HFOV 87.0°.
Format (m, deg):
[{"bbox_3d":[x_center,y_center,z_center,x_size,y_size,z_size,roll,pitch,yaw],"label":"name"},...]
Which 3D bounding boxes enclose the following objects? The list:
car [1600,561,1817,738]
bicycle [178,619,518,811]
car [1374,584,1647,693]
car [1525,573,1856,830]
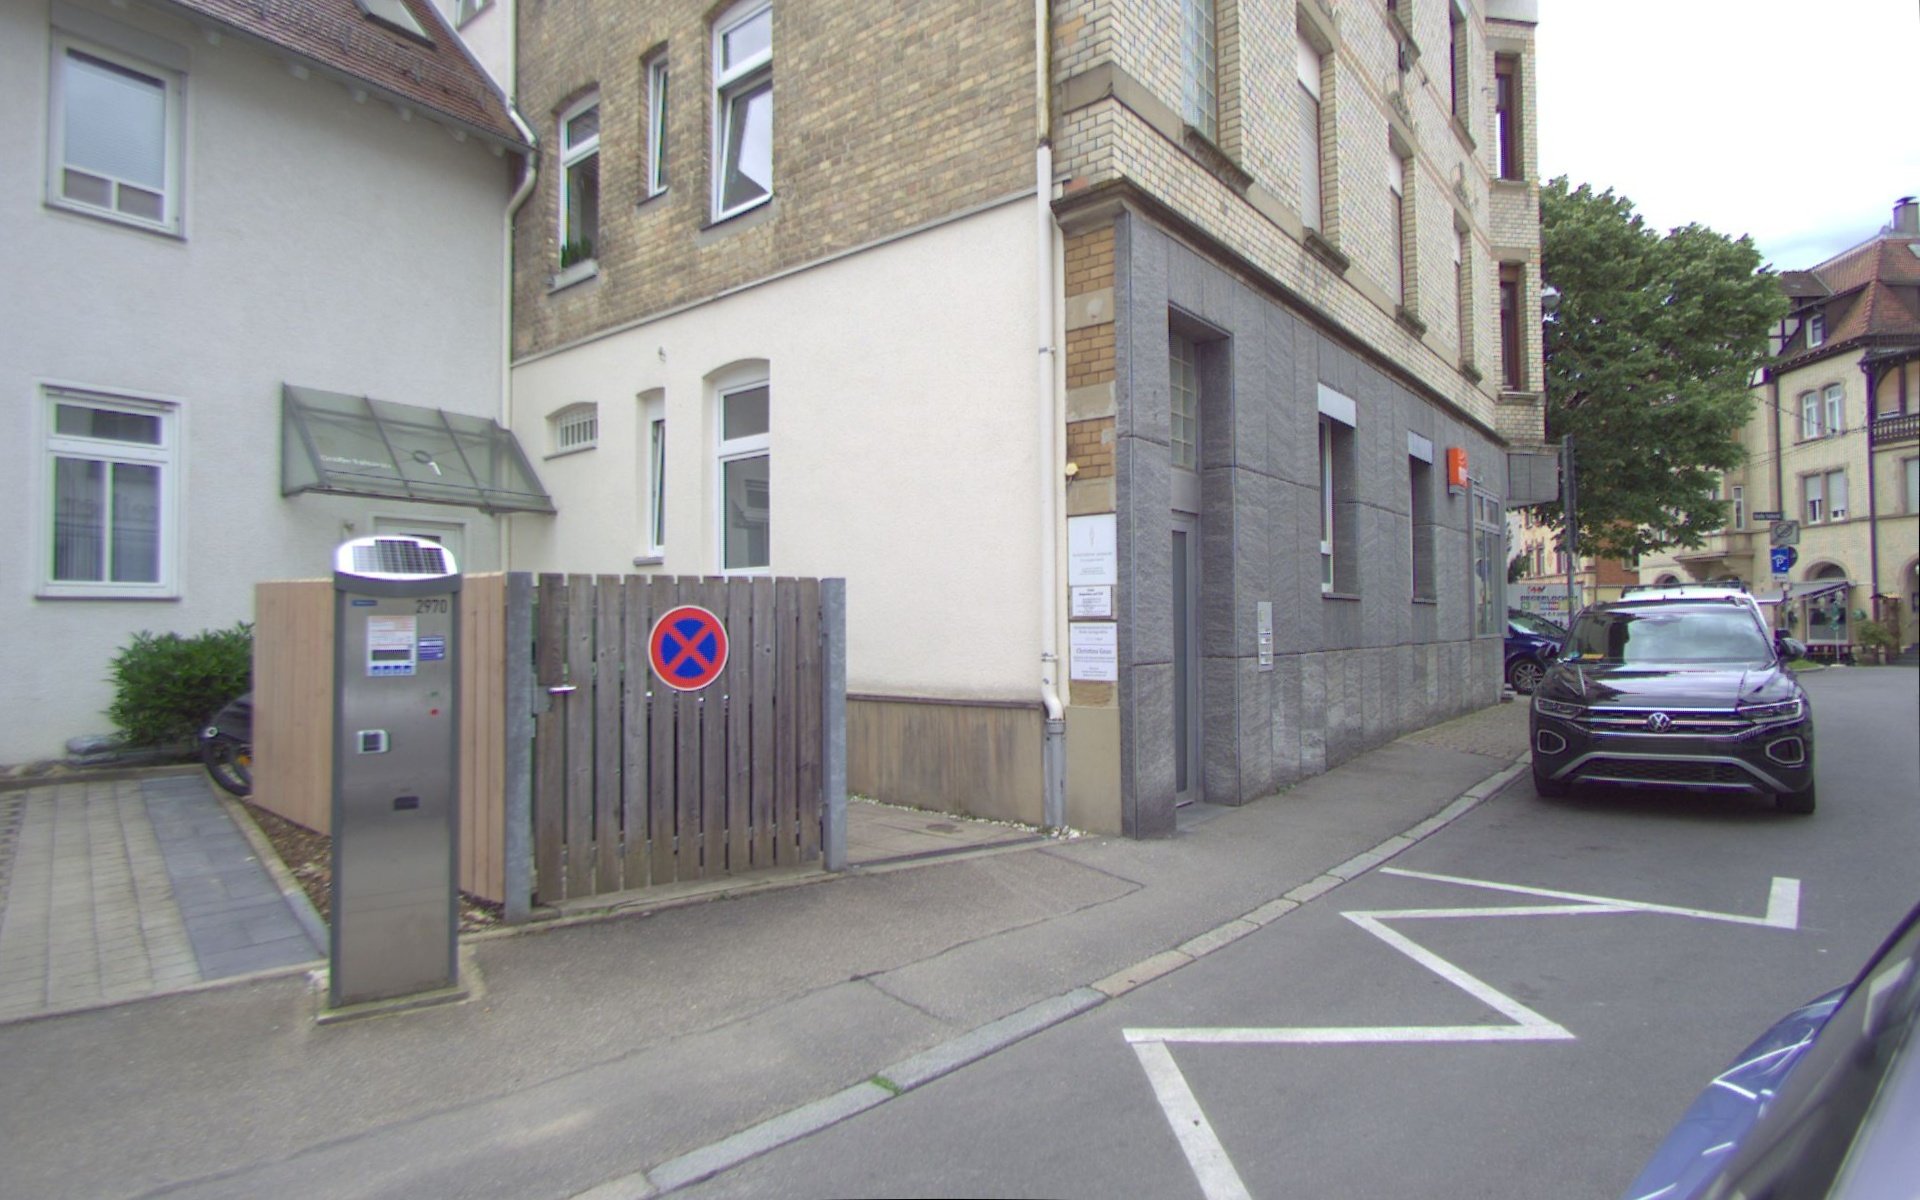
[{"bbox_3d":[9.156,0.549,12.619,1.819,1.815,4.166,-2,-2,34],"label":"car"},{"bbox_3d":[-4.625,0.792,7.741,2.063,1.234,0.960,2,0,-41],"label":"bicycle"},{"bbox_3d":[9.902,0.670,18.555,1.824,1.726,4.027,-1,-1,-26],"label":"car"},{"bbox_3d":[6.198,0.667,8.767,1.782,1.621,4.484,-2,-1,35],"label":"car"}]
